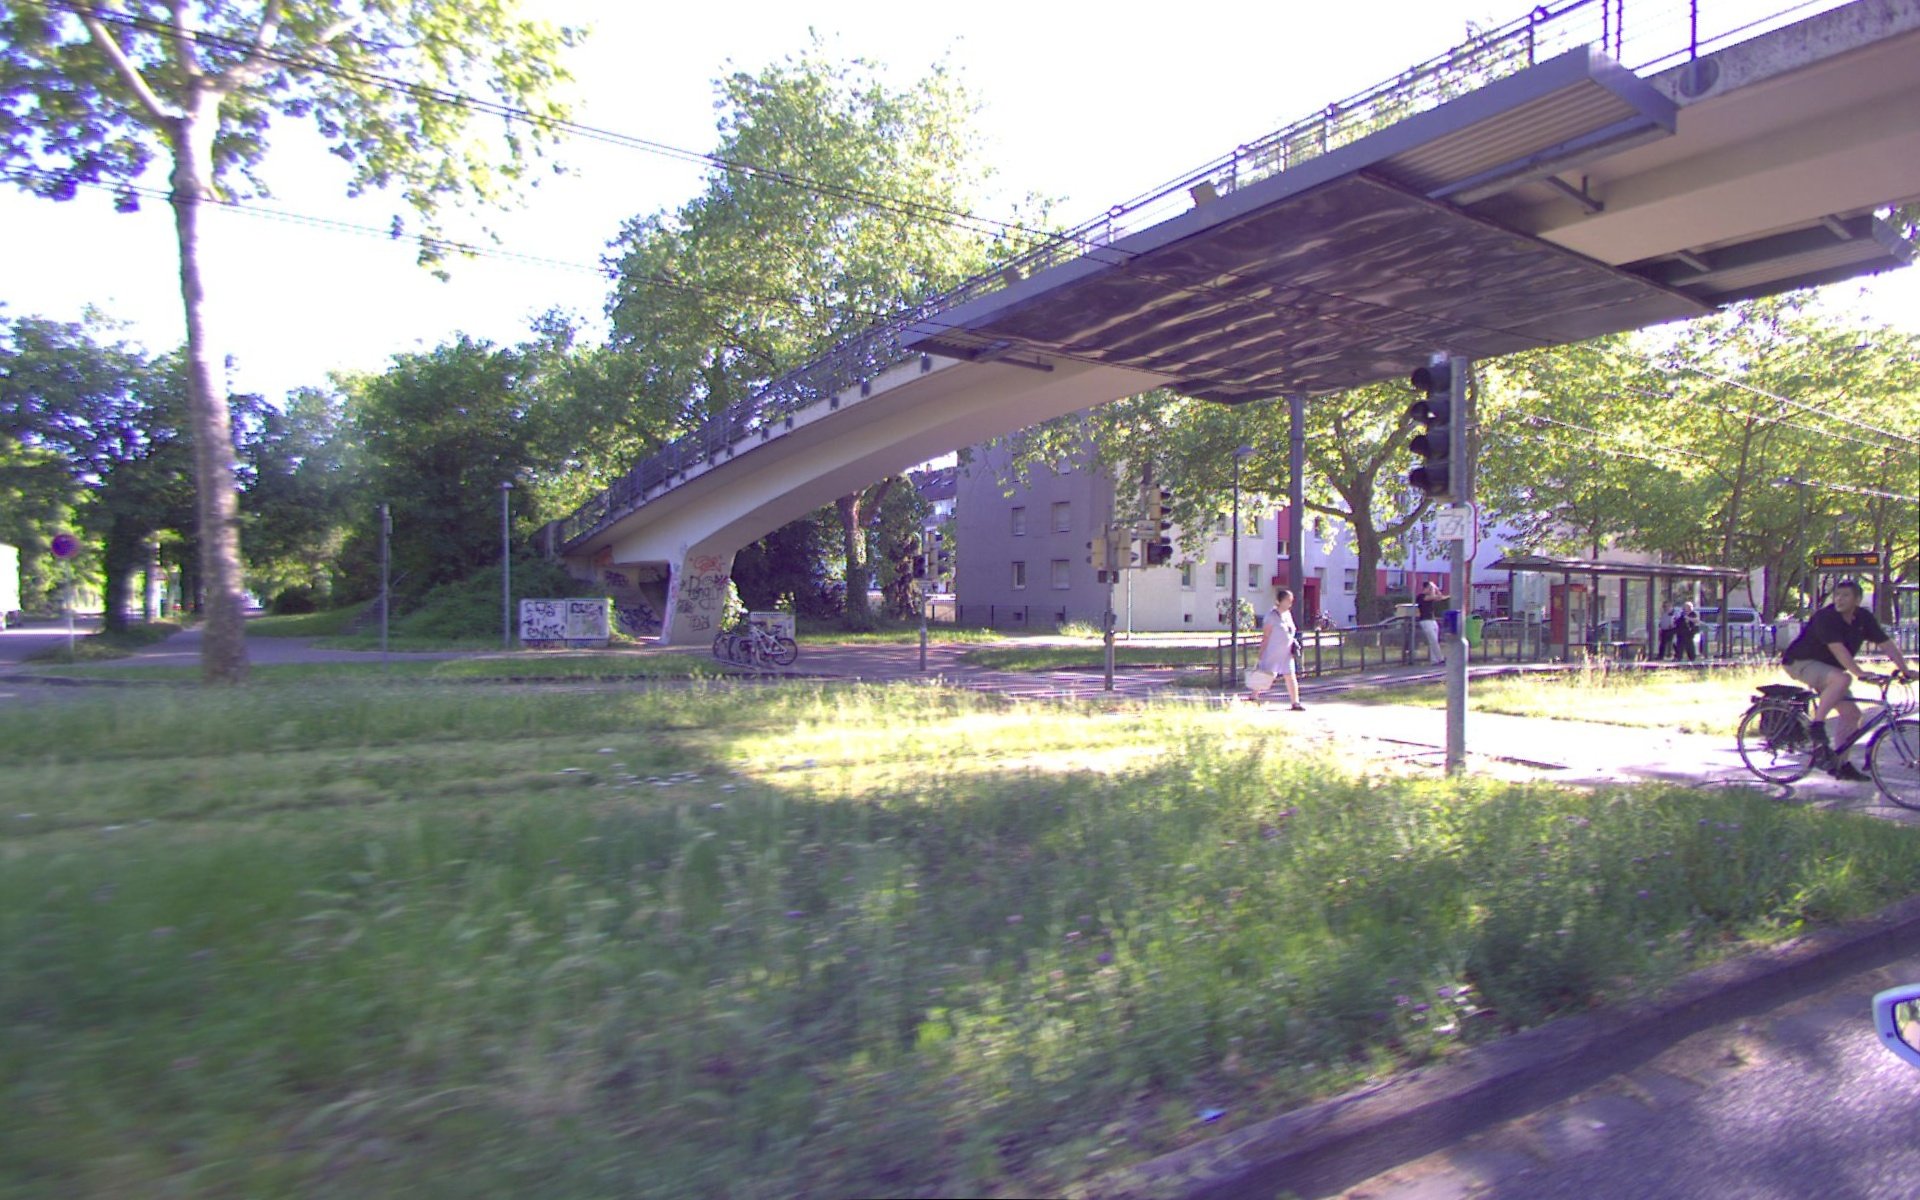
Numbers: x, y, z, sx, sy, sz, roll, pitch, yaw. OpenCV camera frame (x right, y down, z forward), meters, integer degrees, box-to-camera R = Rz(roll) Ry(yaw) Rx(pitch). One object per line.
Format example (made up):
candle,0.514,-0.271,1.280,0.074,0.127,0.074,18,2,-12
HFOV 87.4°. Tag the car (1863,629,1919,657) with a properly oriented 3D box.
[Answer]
car,57.850,2.653,61.083,4.090,1.565,1.647,1,1,12

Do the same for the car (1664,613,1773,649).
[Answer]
car,38.027,1.533,50.473,3.978,1.632,1.690,1,1,17

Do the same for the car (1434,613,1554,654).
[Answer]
car,21.777,1.347,41.142,4.118,1.447,1.699,2,2,22

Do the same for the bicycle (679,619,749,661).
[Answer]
bicycle,-6.248,0.998,25.523,1.667,1.022,0.431,1,1,-31

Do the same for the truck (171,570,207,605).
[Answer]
truck,-73.766,-1.223,96.134,2.500,3.236,6.473,1,1,-36

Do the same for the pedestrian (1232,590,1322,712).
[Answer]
pedestrian,4.653,0.730,14.758,1.038,1.696,0.720,1,1,-34

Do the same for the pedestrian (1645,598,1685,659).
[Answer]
pedestrian,19.388,0.775,27.629,0.701,1.656,0.731,0,-1,17

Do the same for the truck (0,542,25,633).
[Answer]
truck,-42.443,-0.572,42.837,2.721,3.800,8.428,1,0,-36

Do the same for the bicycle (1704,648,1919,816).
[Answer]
bicycle,7.523,1.054,8.501,0.801,1.162,1.830,1,2,-16

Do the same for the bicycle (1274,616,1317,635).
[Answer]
bicycle,17.247,1.304,51.638,2.568,0.941,0.691,0,2,-34

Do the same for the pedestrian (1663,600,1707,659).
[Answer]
pedestrian,19.180,0.789,26.587,0.672,1.534,0.643,1,-1,-12

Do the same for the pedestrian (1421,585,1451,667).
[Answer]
pedestrian,10.609,0.578,22.409,0.494,1.794,0.484,2,1,19

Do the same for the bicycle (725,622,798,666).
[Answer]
bicycle,-4.788,1.060,24.257,1.667,1.022,0.431,1,1,-31

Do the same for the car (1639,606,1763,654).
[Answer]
car,35.875,1.409,48.783,4.412,2.091,1.899,2,2,22

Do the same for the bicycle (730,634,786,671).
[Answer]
bicycle,-4.573,1.187,22.726,1.160,0.789,0.431,1,1,-31

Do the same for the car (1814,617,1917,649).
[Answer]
car,50.772,1.816,56.394,3.977,1.590,1.576,1,2,12

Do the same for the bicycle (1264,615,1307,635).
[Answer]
bicycle,16.920,1.288,52.243,2.568,0.941,0.691,0,2,-34

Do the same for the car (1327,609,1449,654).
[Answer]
car,16.108,1.171,37.949,4.118,1.447,1.699,2,2,22

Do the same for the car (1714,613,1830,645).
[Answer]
car,43.419,1.538,53.787,4.408,1.524,1.901,1,1,12

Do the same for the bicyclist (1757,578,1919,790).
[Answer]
bicyclist,7.536,0.658,8.463,0.801,1.654,0.953,1,2,-16

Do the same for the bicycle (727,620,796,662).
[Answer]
bicycle,-5.087,1.038,25.746,1.667,1.022,0.431,1,1,-31
